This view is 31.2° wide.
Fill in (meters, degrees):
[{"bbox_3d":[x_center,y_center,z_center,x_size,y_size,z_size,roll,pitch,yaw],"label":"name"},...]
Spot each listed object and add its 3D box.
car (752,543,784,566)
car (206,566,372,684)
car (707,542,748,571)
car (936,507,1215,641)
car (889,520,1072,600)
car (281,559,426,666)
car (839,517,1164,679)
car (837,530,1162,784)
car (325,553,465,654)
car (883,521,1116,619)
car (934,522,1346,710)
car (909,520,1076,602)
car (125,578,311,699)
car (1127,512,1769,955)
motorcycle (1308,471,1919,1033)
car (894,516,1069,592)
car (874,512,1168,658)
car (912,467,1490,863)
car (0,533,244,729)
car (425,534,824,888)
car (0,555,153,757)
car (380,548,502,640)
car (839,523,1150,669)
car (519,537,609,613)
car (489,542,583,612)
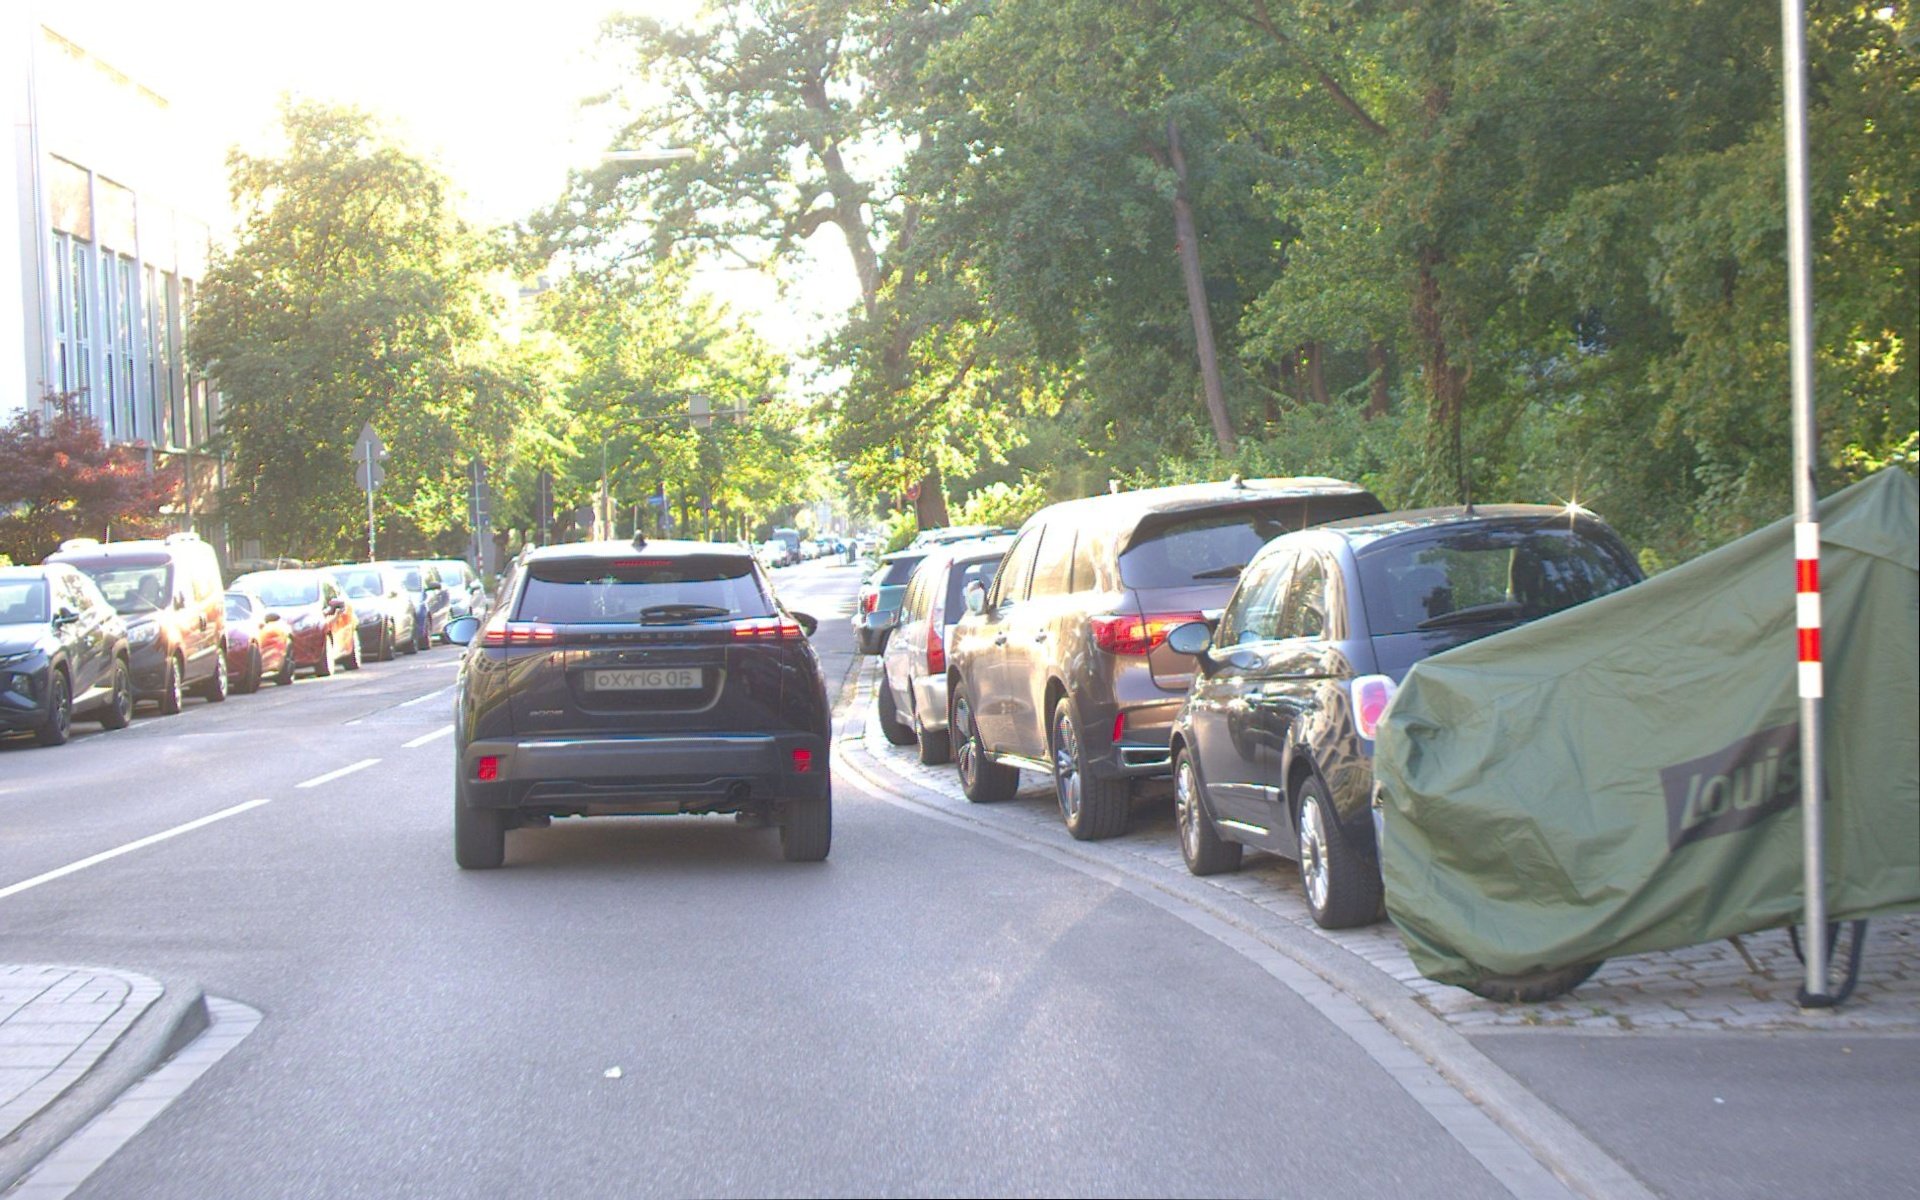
[{"bbox_3d":[-12.272,-2.890,219.567,1.810,1.349,4.001,-3,1,-5],"label":"car"},{"bbox_3d":[-9.205,0.310,47.407,1.598,1.450,3.862,-3,1,-2],"label":"car"},{"bbox_3d":[-11.485,-2.153,169.413,1.810,1.349,4.001,-3,1,-6],"label":"car"},{"bbox_3d":[1.586,-0.372,48.258,3.725,1.493,1.820,-6,0,0],"label":"car"},{"bbox_3d":[0.465,-0.929,79.732,4.122,1.661,1.723,-3,1,-1],"label":"car"},{"bbox_3d":[-9.416,0.166,53.634,1.598,1.450,4.055,-4,2,-2],"label":"car"},{"bbox_3d":[0.450,-0.043,40.526,3.610,1.520,1.672,-6,2,-3],"label":"car"},{"bbox_3d":[0.183,0.337,24.433,1.650,1.562,4.302,-3,1,-7],"label":"car"},{"bbox_3d":[-9.581,0.038,58.531,1.598,1.502,3.787,-4,2,1],"label":"car"},{"bbox_3d":[0.758,-0.597,66.429,4.338,1.470,1.742,-5,2,0],"label":"car"},{"bbox_3d":[1.605,0.124,31.613,3.627,1.535,1.672,-2,2,0],"label":"car"},{"bbox_3d":[0.712,-0.874,77.256,3.588,1.561,1.818,-4,0,-2],"label":"car"},{"bbox_3d":[-9.181,0.445,42.787,1.556,1.275,3.733,-4,2,-2],"label":"car"},{"bbox_3d":[1.828,0.444,13.905,1.619,1.481,3.420,-3,1,-8],"label":"car"},{"bbox_3d":[2.330,0.417,10.214,2.296,1.539,1.037,-2,1,34],"label":"motorcycle"},{"bbox_3d":[0.555,-1.136,84.470,4.171,1.704,1.867,-2,1,3],"label":"car"},{"bbox_3d":[0.779,-0.222,45.588,3.666,1.547,1.735,-6,2,-3],"label":"car"},{"bbox_3d":[1.110,0.269,18.339,1.921,1.742,4.667,-3,1,-10],"label":"car"},{"bbox_3d":[-9.168,0.282,37.640,1.807,1.883,4.239,-4,2,-2],"label":"car"},{"bbox_3d":[-1.634,0.464,17.083,1.768,1.563,3.381,-1,1,-5],"label":"car"},{"bbox_3d":[-8.915,0.500,32.160,1.742,1.670,4.417,-4,2,-2],"label":"car"},{"bbox_3d":[-9.471,-0.130,62.970,1.601,1.488,3.772,-4,2,0],"label":"car"},{"bbox_3d":[0.395,-0.070,42.905,3.666,1.440,1.735,-6,2,-3],"label":"car"},{"bbox_3d":[-9.887,-0.644,86.088,1.679,1.702,4.341,-4,2,0],"label":"car"},{"bbox_3d":[-9.910,-0.562,80.622,1.671,1.488,4.061,-3,1,0],"label":"car"}]
